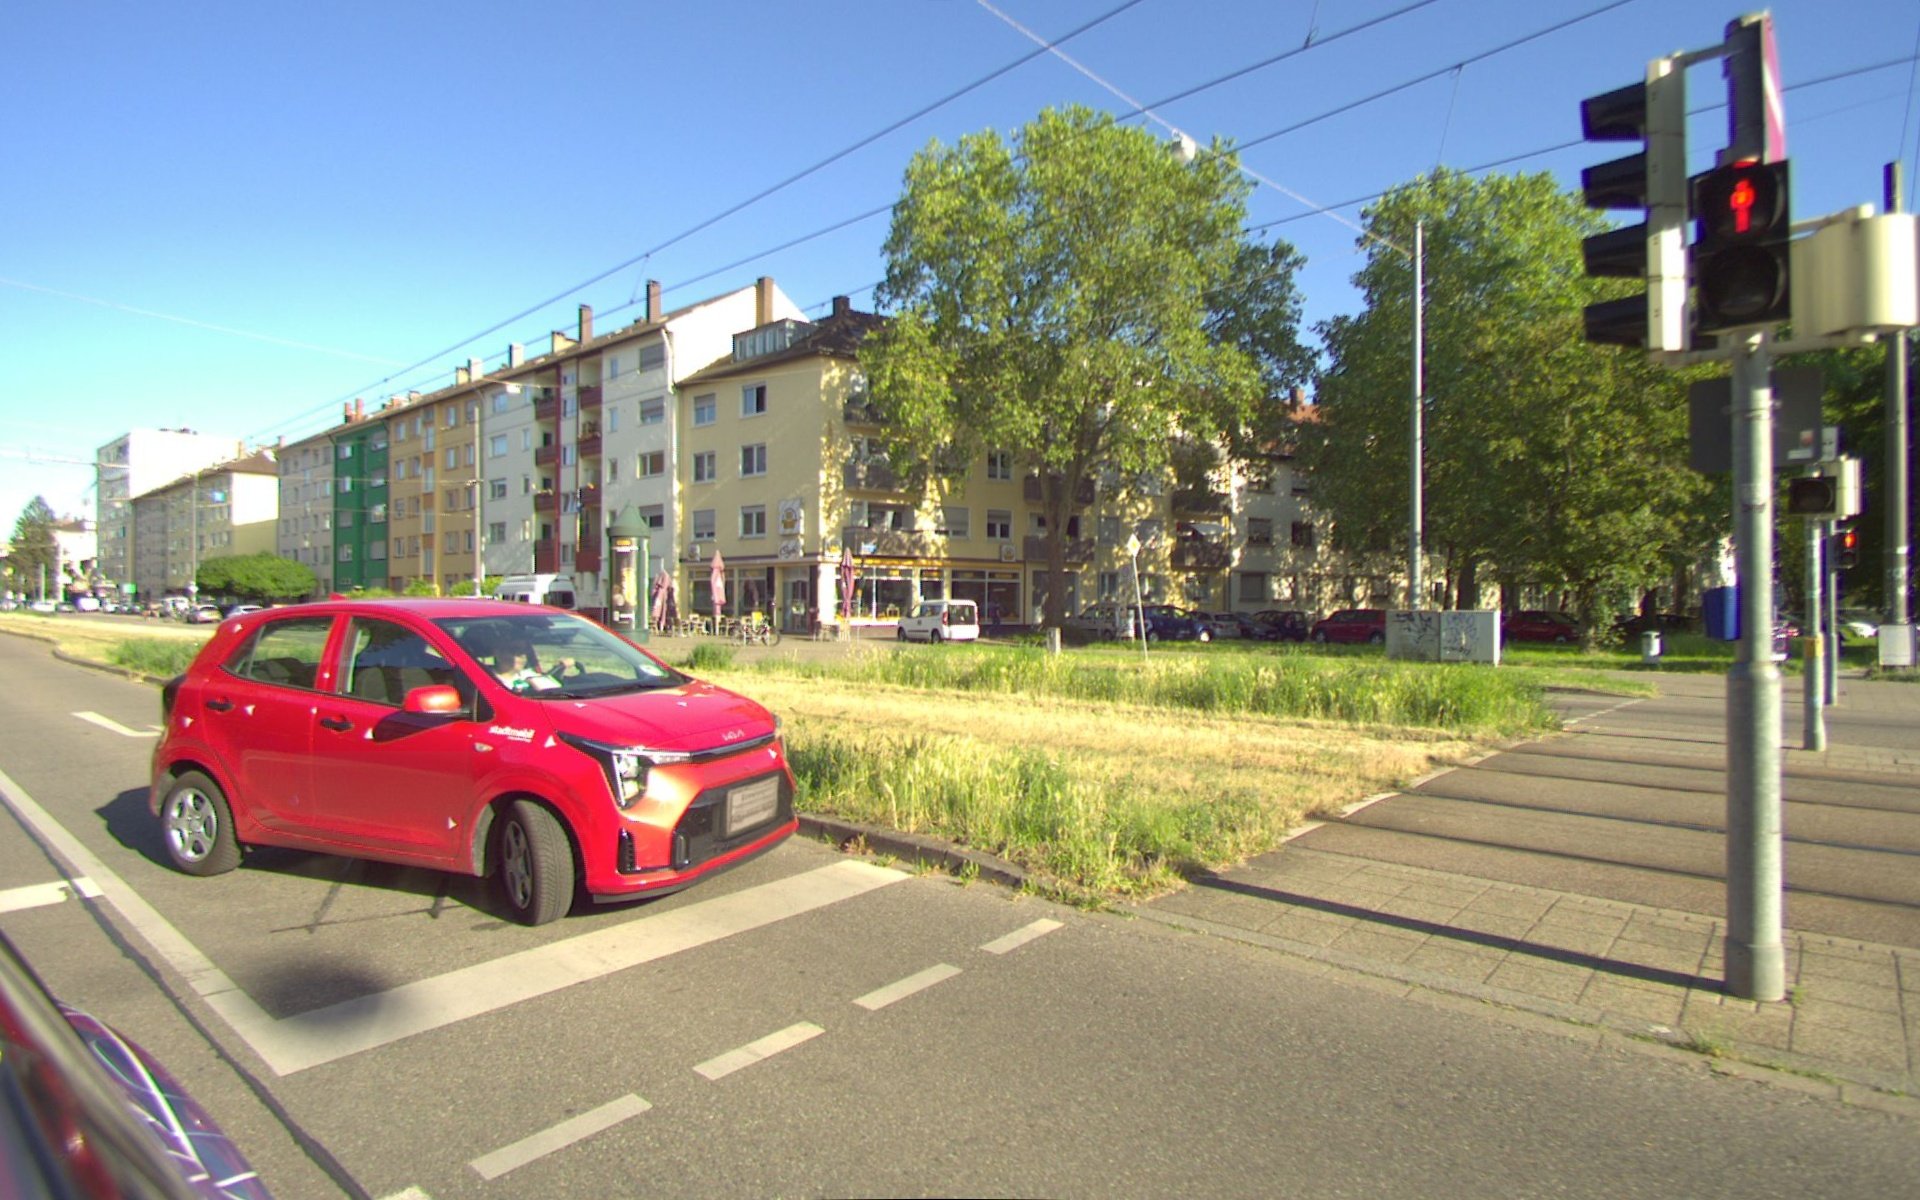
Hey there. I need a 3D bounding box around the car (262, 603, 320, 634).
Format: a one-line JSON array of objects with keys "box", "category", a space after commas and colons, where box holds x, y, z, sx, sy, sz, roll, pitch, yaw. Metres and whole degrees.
[{"box": [-43.184, 1.195, 65.323, 4.607, 1.851, 1.973, 0, 1, 42], "category": "car"}]

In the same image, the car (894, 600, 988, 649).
[{"box": [-0.846, 0.956, 41.698, 1.967, 1.840, 4.010, -2, 2, -34], "category": "car"}]

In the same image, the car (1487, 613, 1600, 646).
[{"box": [25.641, 1.272, 44.587, 1.559, 1.392, 4.011, 0, -1, -32], "category": "car"}]

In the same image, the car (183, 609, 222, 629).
[{"box": [-60.712, 1.507, 81.073, 3.730, 1.453, 1.619, 0, 1, 39], "category": "car"}]

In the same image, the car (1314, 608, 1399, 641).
[{"box": [22.072, 1.338, 56.478, 1.965, 1.677, 4.074, 2, 0, -29], "category": "car"}]

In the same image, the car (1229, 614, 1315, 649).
[{"box": [15.923, 1.591, 51.822, 1.850, 1.626, 4.013, 2, -1, -29], "category": "car"}]

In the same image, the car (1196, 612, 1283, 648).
[{"box": [13.783, 1.463, 50.151, 1.850, 1.626, 4.013, 2, -1, -29], "category": "car"}]

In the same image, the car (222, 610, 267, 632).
[{"box": [-51.170, 1.476, 72.357, 4.375, 1.465, 1.710, 0, 0, 42], "category": "car"}]

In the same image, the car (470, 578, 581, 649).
[{"box": [-18.820, 0.547, 43.628, 6.227, 2.890, 2.010, 0, 0, 43], "category": "car"}]

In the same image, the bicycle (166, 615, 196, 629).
[{"box": [-68.307, 1.959, 88.710, 2.024, 1.101, 0.616, -3, 2, -43], "category": "bicycle"}]

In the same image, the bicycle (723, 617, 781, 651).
[{"box": [-7.678, 1.243, 37.397, 2.065, 1.193, 0.518, 0, 1, 8], "category": "bicycle"}]

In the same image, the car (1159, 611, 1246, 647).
[{"box": [11.734, 1.375, 49.187, 1.850, 1.582, 4.013, 2, -1, -29], "category": "car"}]

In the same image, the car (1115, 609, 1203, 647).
[{"box": [9.443, 1.314, 48.347, 1.965, 1.677, 4.074, 2, 0, -29], "category": "car"}]

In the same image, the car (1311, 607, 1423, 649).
[{"box": [15.262, 0.998, 38.113, 1.618, 1.391, 3.659, -2, 1, -31], "category": "car"}]

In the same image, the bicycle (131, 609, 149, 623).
[{"box": [-70.504, 1.376, 86.996, 2.474, 1.155, 0.760, 0, -3, 42], "category": "bicycle"}]

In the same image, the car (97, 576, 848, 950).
[{"box": [-2.650, 0.671, 5.581, 3.673, 1.519, 1.688, -1, 1, 22], "category": "car"}]

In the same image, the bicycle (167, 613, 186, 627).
[{"box": [-65.456, 1.675, 84.554, 1.928, 1.101, 0.506, -1, 1, 30], "category": "bicycle"}]

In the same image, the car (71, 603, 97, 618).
[{"box": [-124.418, 1.480, 143.672, 4.665, 1.912, 1.974, -1, 1, 40], "category": "car"}]

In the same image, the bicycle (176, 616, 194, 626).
[{"box": [-65.049, 1.776, 84.936, 2.046, 0.872, 0.373, -1, 1, 30], "category": "bicycle"}]

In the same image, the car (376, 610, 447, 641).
[{"box": [-28.157, 1.279, 51.866, 4.321, 1.526, 1.678, 0, 0, 39], "category": "car"}]

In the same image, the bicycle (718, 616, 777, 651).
[{"box": [-7.741, 1.220, 36.847, 2.065, 1.261, 0.518, 0, 1, 8], "category": "bicycle"}]

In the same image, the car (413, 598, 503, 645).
[{"box": [-23.932, 0.996, 48.150, 5.370, 2.036, 2.010, 0, 2, 43], "category": "car"}]

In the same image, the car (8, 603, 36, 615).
[{"box": [-116.909, 1.144, 126.150, 4.407, 1.540, 1.767, -1, -2, 36], "category": "car"}]

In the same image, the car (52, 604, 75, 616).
[{"box": [-114.527, 1.296, 129.254, 4.216, 1.459, 1.676, -1, -2, 43], "category": "car"}]

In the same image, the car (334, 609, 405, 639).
[{"box": [-32.418, 1.299, 55.510, 4.699, 1.502, 1.873, -1, 1, 40], "category": "car"}]

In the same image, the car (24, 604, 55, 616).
[{"box": [-110.411, 1.203, 121.404, 4.405, 1.395, 1.817, -1, -2, 36], "category": "car"}]

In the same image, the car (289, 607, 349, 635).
[{"box": [-39.368, 1.254, 62.140, 4.149, 1.619, 1.973, 0, 2, 42], "category": "car"}]

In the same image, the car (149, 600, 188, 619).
[{"box": [-84.554, 1.009, 108.121, 5.494, 1.964, 1.974, -1, 2, 39], "category": "car"}]

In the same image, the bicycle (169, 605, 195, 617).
[{"box": [-81.314, 1.138, 105.761, 0.472, 1.114, 2.076, -1, 2, 41], "category": "bicycle"}]

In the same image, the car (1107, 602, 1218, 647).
[{"box": [7.668, 0.896, 38.221, 3.931, 1.613, 1.755, 0, -1, -30], "category": "car"}]

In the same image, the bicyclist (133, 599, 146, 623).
[{"box": [-70.548, 0.961, 87.019, 0.648, 2.028, 0.765, -1, 1, 41], "category": "bicyclist"}]

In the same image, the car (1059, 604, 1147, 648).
[{"box": [6.580, 1.171, 47.016, 1.965, 1.857, 4.013, 2, -1, -29], "category": "car"}]

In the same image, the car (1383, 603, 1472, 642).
[{"box": [21.547, 1.025, 46.596, 3.931, 1.697, 1.755, 0, -1, -30], "category": "car"}]
